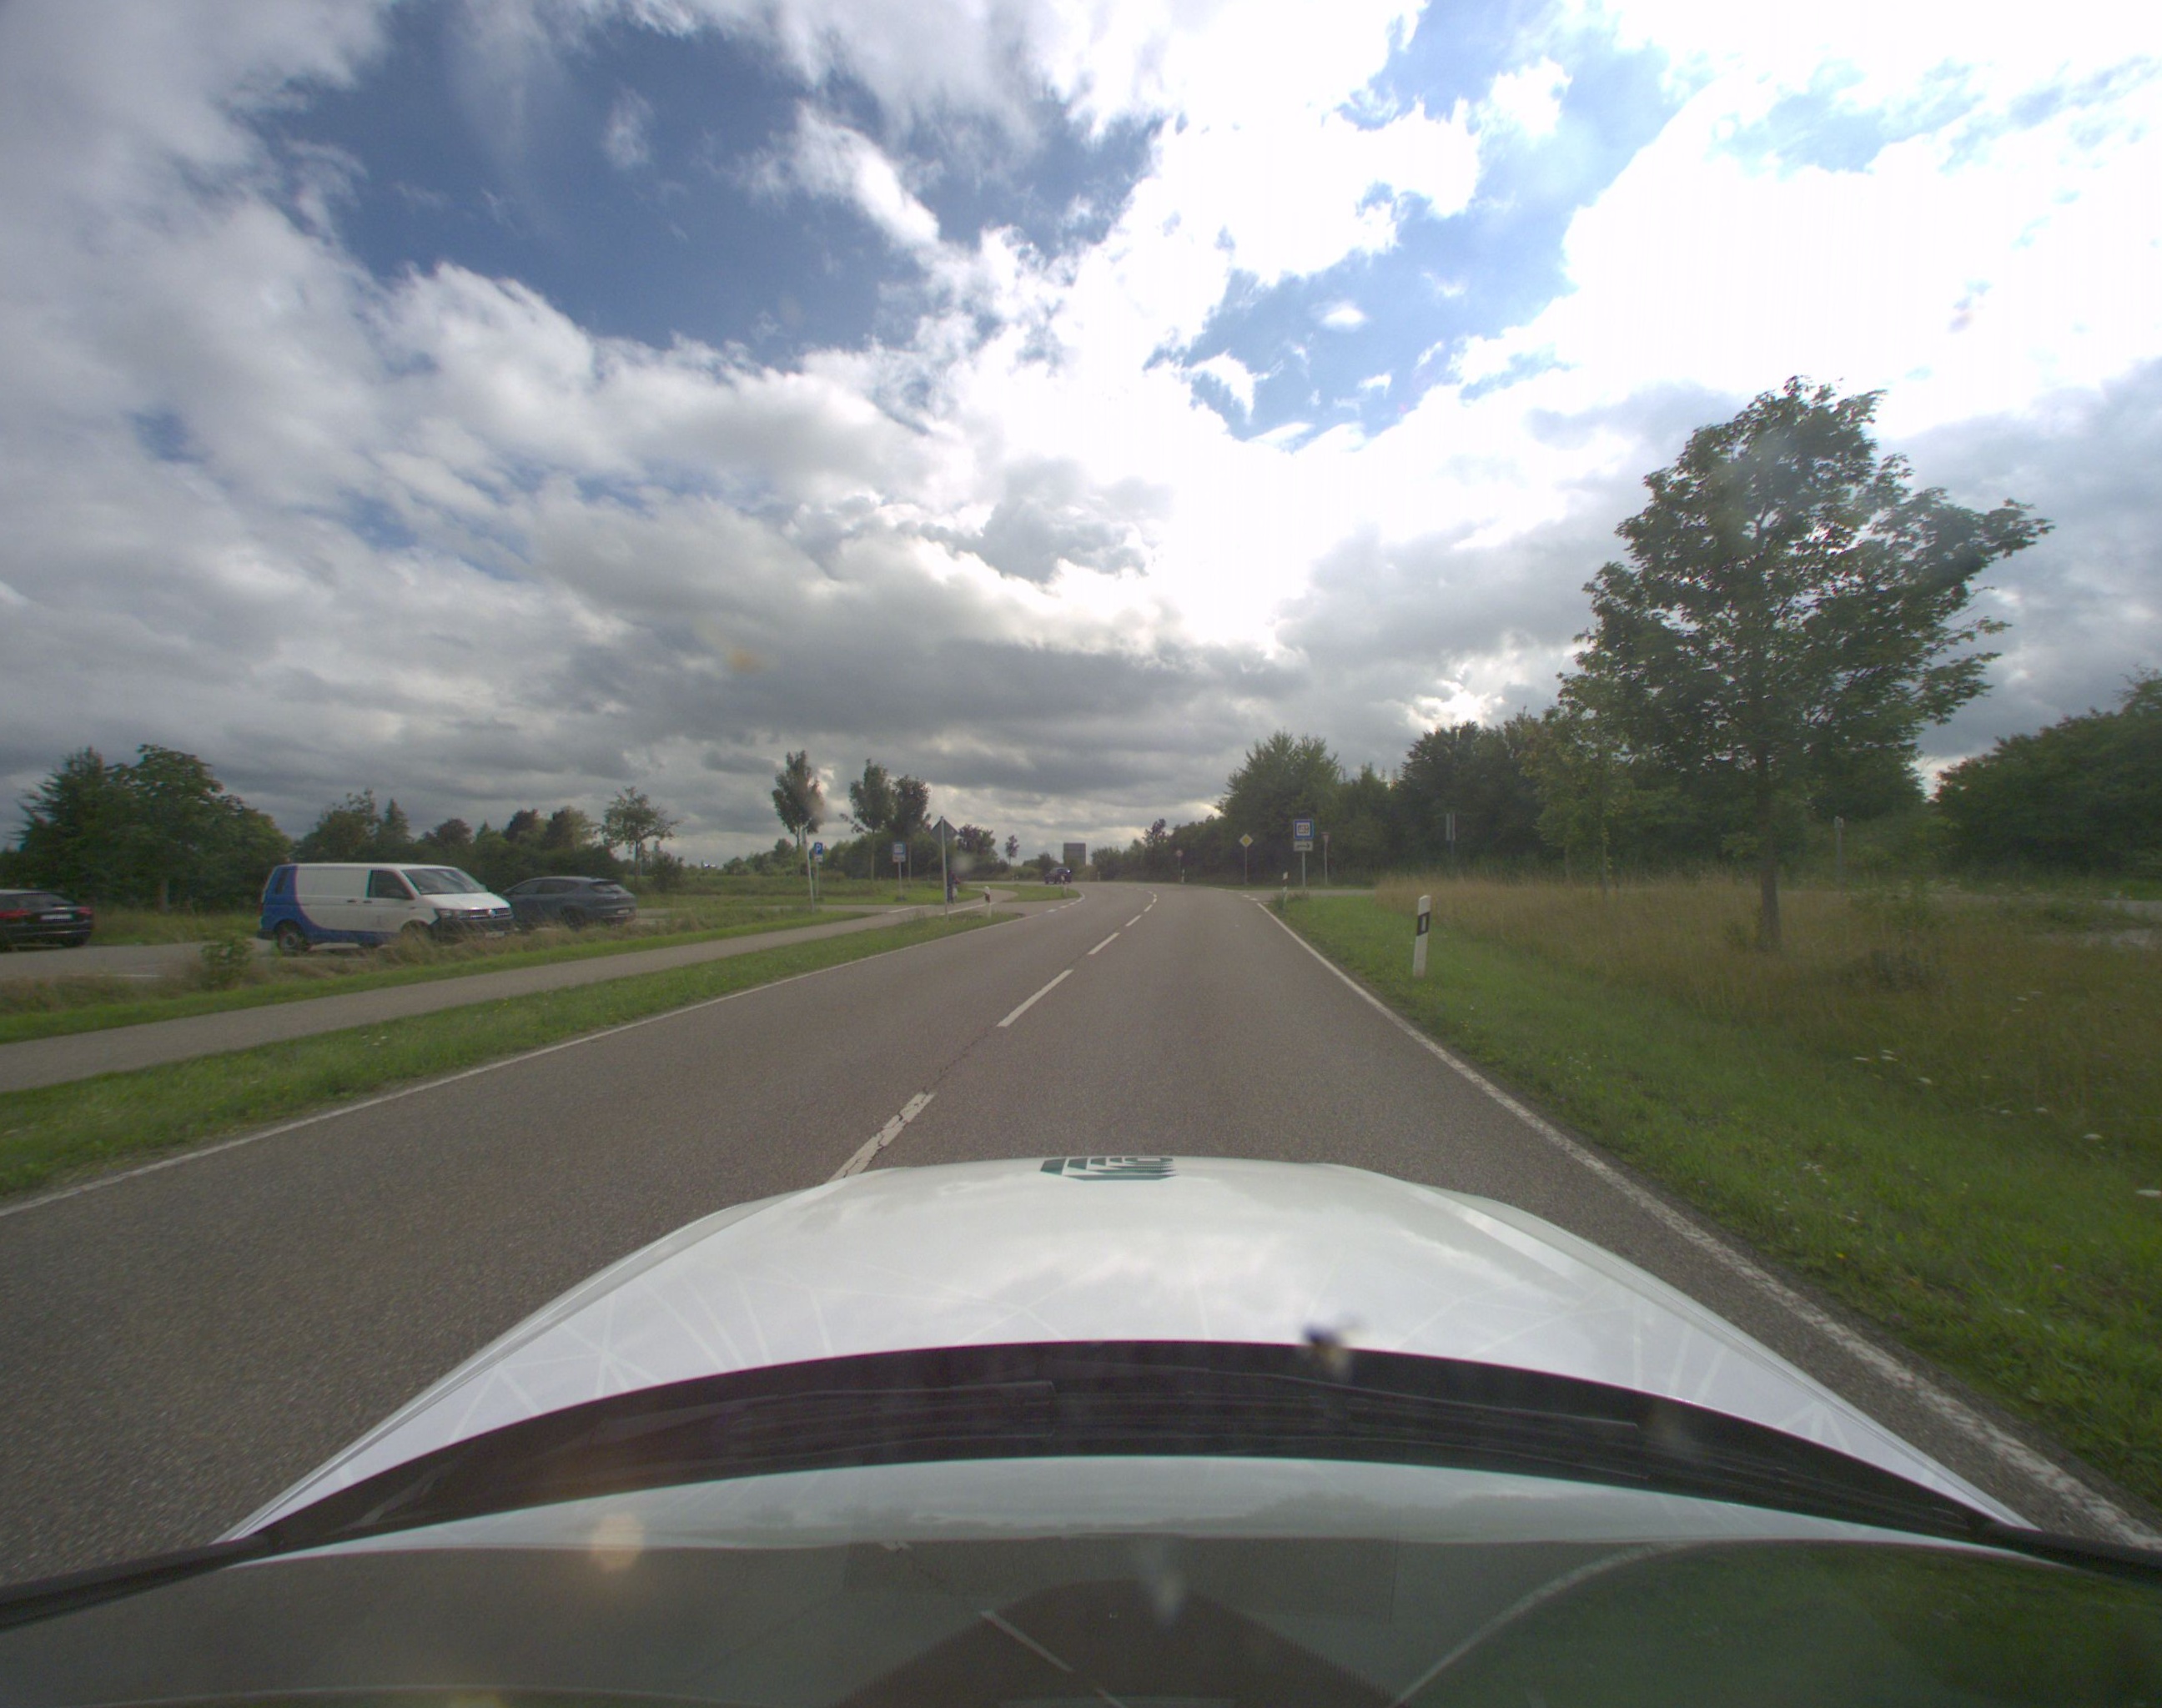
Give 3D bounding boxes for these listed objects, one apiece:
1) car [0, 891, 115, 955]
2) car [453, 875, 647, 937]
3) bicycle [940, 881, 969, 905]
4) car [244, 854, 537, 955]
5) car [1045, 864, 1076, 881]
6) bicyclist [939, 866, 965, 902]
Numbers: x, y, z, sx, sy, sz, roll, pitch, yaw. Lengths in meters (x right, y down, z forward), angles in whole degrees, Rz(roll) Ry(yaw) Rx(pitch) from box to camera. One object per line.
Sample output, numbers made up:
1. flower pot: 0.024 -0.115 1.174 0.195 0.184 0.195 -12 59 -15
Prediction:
1. car: -25.989 1.594 19.276 3.974 1.387 1.841 0 -1 0
2. car: -14.758 1.424 22.764 4.225 1.595 2.004 -1 -1 7
3. bicycle: -5.807 1.765 37.421 0.632 1.032 2.196 -1 -1 9
4. car: -15.039 1.075 17.905 4.869 2.014 2.060 -1 -1 5
5. car: -2.231 1.975 86.801 1.915 1.666 3.969 -1 -1 -23
6. bicyclist: -5.870 1.358 37.154 0.825 1.566 1.058 -1 -1 11
